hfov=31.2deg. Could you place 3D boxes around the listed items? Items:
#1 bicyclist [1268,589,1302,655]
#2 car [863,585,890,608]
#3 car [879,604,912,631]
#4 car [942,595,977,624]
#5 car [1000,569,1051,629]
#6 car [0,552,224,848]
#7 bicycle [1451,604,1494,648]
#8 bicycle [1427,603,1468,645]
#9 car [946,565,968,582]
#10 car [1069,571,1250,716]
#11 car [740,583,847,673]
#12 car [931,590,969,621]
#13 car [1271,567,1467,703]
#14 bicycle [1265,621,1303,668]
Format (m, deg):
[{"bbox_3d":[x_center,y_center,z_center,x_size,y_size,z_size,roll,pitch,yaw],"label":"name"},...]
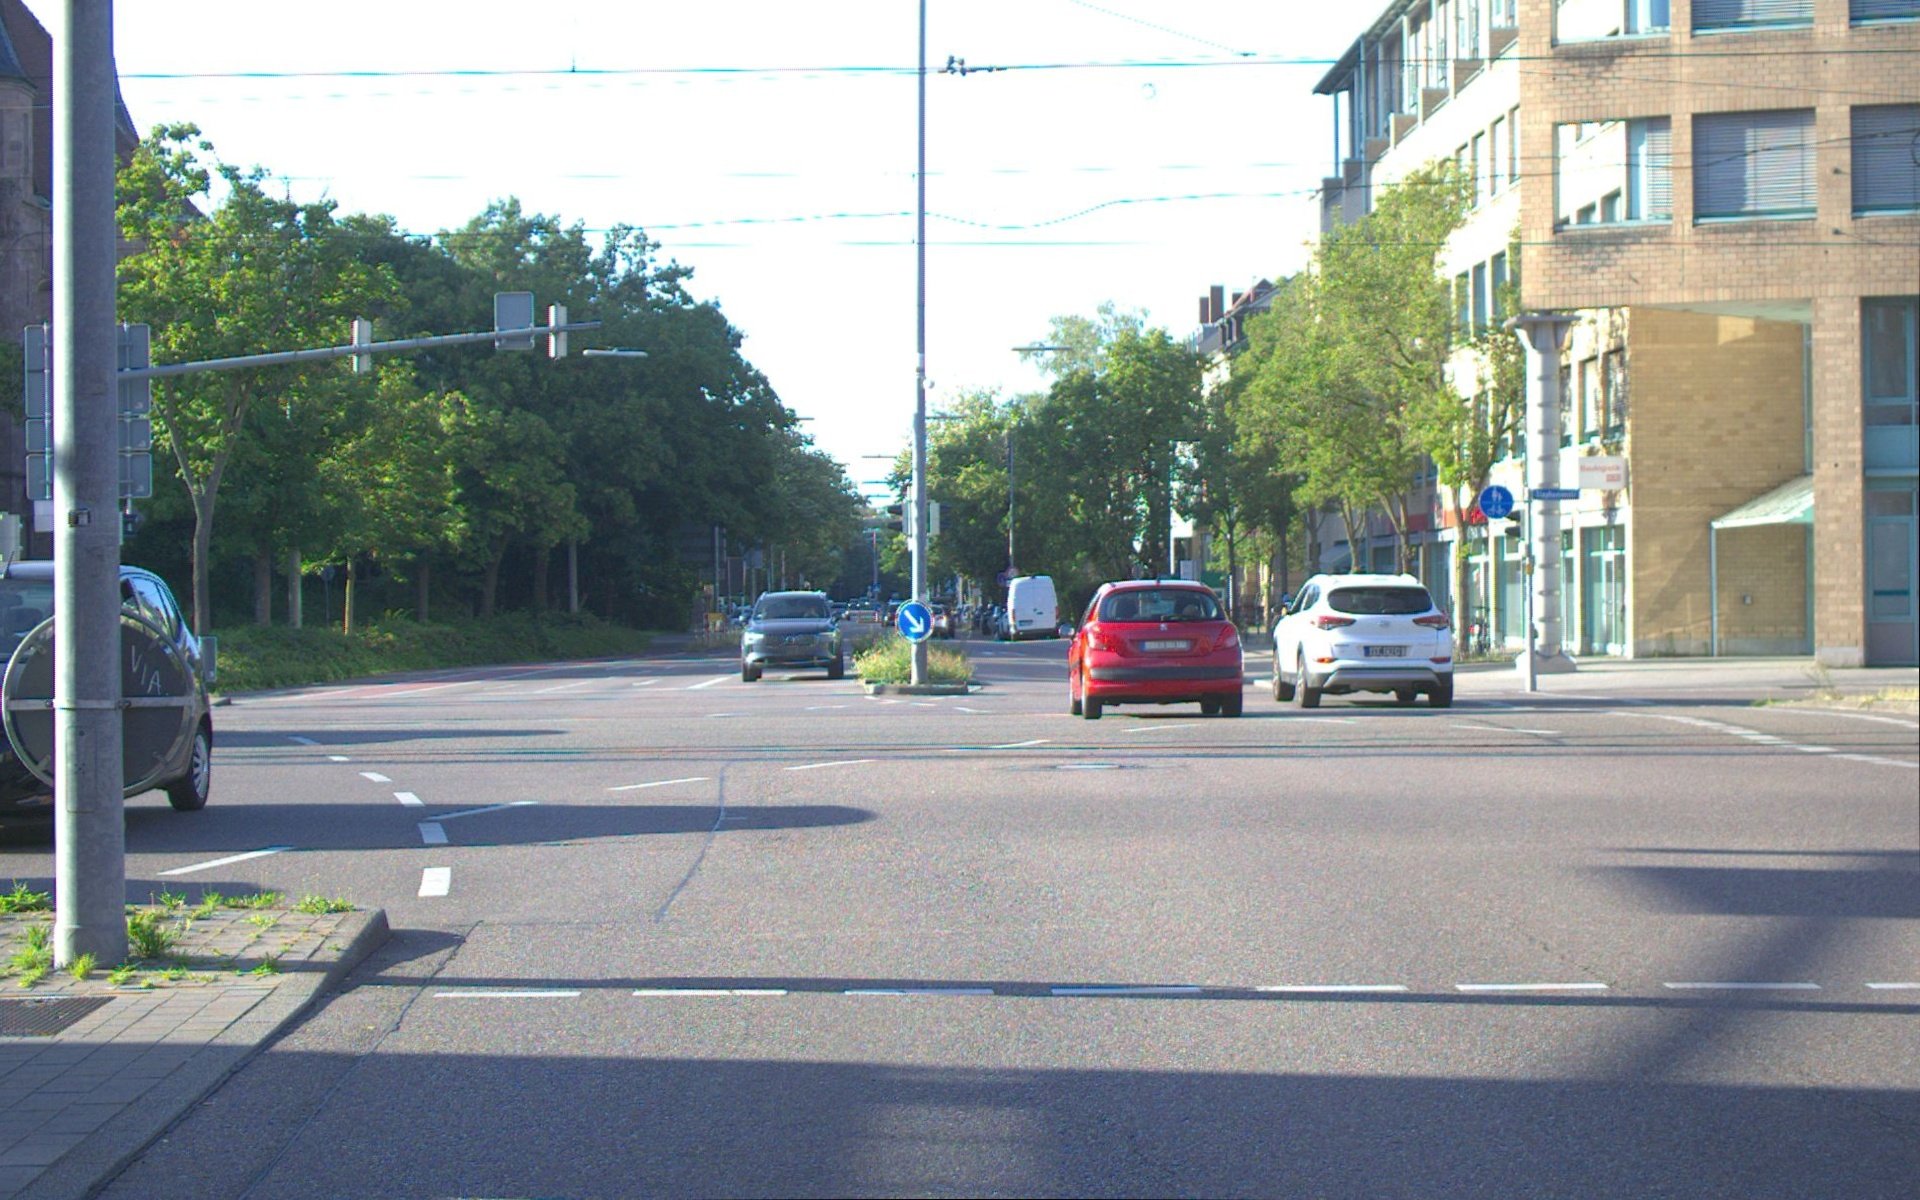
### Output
[{"bbox_3d":[6.835,0.465,72.355,0.592,1.364,0.930,1,1,0],"label":"bicyclist"},{"bbox_3d":[-6.042,-0.261,250.043,1.886,1.665,4.000,1,0,0],"label":"car"},{"bbox_3d":[-3.175,0.861,170.513,1.594,1.263,3.266,0,0,0],"label":"car"},{"bbox_3d":[-0.036,0.439,158.700,1.594,1.263,3.266,0,0,0],"label":"car"},{"bbox_3d":[2.725,-0.054,143.635,1.993,2.432,4.000,1,0,0],"label":"car"},{"bbox_3d":[-5.409,0.518,19.810,1.578,1.539,3.477,-2,1,-1],"label":"car"},{"bbox_3d":[11.808,0.591,79.234,0.646,0.991,2.081,0,0,-1],"label":"bicycle"},{"bbox_3d":[11.747,0.578,82.941,0.646,0.991,2.081,0,0,-1],"label":"bicycle"},{"bbox_3d":[-0.226,-1.938,254.307,1.594,1.263,3.266,0,0,0],"label":"car"},{"bbox_3d":[2.107,0.438,37.186,1.670,1.457,4.000,1,0,0],"label":"car"},{"bbox_3d":[-3.287,0.572,68.669,1.993,1.718,5.031,-1,-1,-1],"label":"car"},{"bbox_3d":[-0.434,0.214,146.450,1.594,1.263,3.266,0,0,0],"label":"car"},{"bbox_3d":[5.099,0.413,43.366,1.916,1.602,4.269,1,0,0],"label":"car"},{"bbox_3d":[6.821,0.931,72.381,0.592,0.940,1.978,1,1,0],"label":"bicycle"}]
